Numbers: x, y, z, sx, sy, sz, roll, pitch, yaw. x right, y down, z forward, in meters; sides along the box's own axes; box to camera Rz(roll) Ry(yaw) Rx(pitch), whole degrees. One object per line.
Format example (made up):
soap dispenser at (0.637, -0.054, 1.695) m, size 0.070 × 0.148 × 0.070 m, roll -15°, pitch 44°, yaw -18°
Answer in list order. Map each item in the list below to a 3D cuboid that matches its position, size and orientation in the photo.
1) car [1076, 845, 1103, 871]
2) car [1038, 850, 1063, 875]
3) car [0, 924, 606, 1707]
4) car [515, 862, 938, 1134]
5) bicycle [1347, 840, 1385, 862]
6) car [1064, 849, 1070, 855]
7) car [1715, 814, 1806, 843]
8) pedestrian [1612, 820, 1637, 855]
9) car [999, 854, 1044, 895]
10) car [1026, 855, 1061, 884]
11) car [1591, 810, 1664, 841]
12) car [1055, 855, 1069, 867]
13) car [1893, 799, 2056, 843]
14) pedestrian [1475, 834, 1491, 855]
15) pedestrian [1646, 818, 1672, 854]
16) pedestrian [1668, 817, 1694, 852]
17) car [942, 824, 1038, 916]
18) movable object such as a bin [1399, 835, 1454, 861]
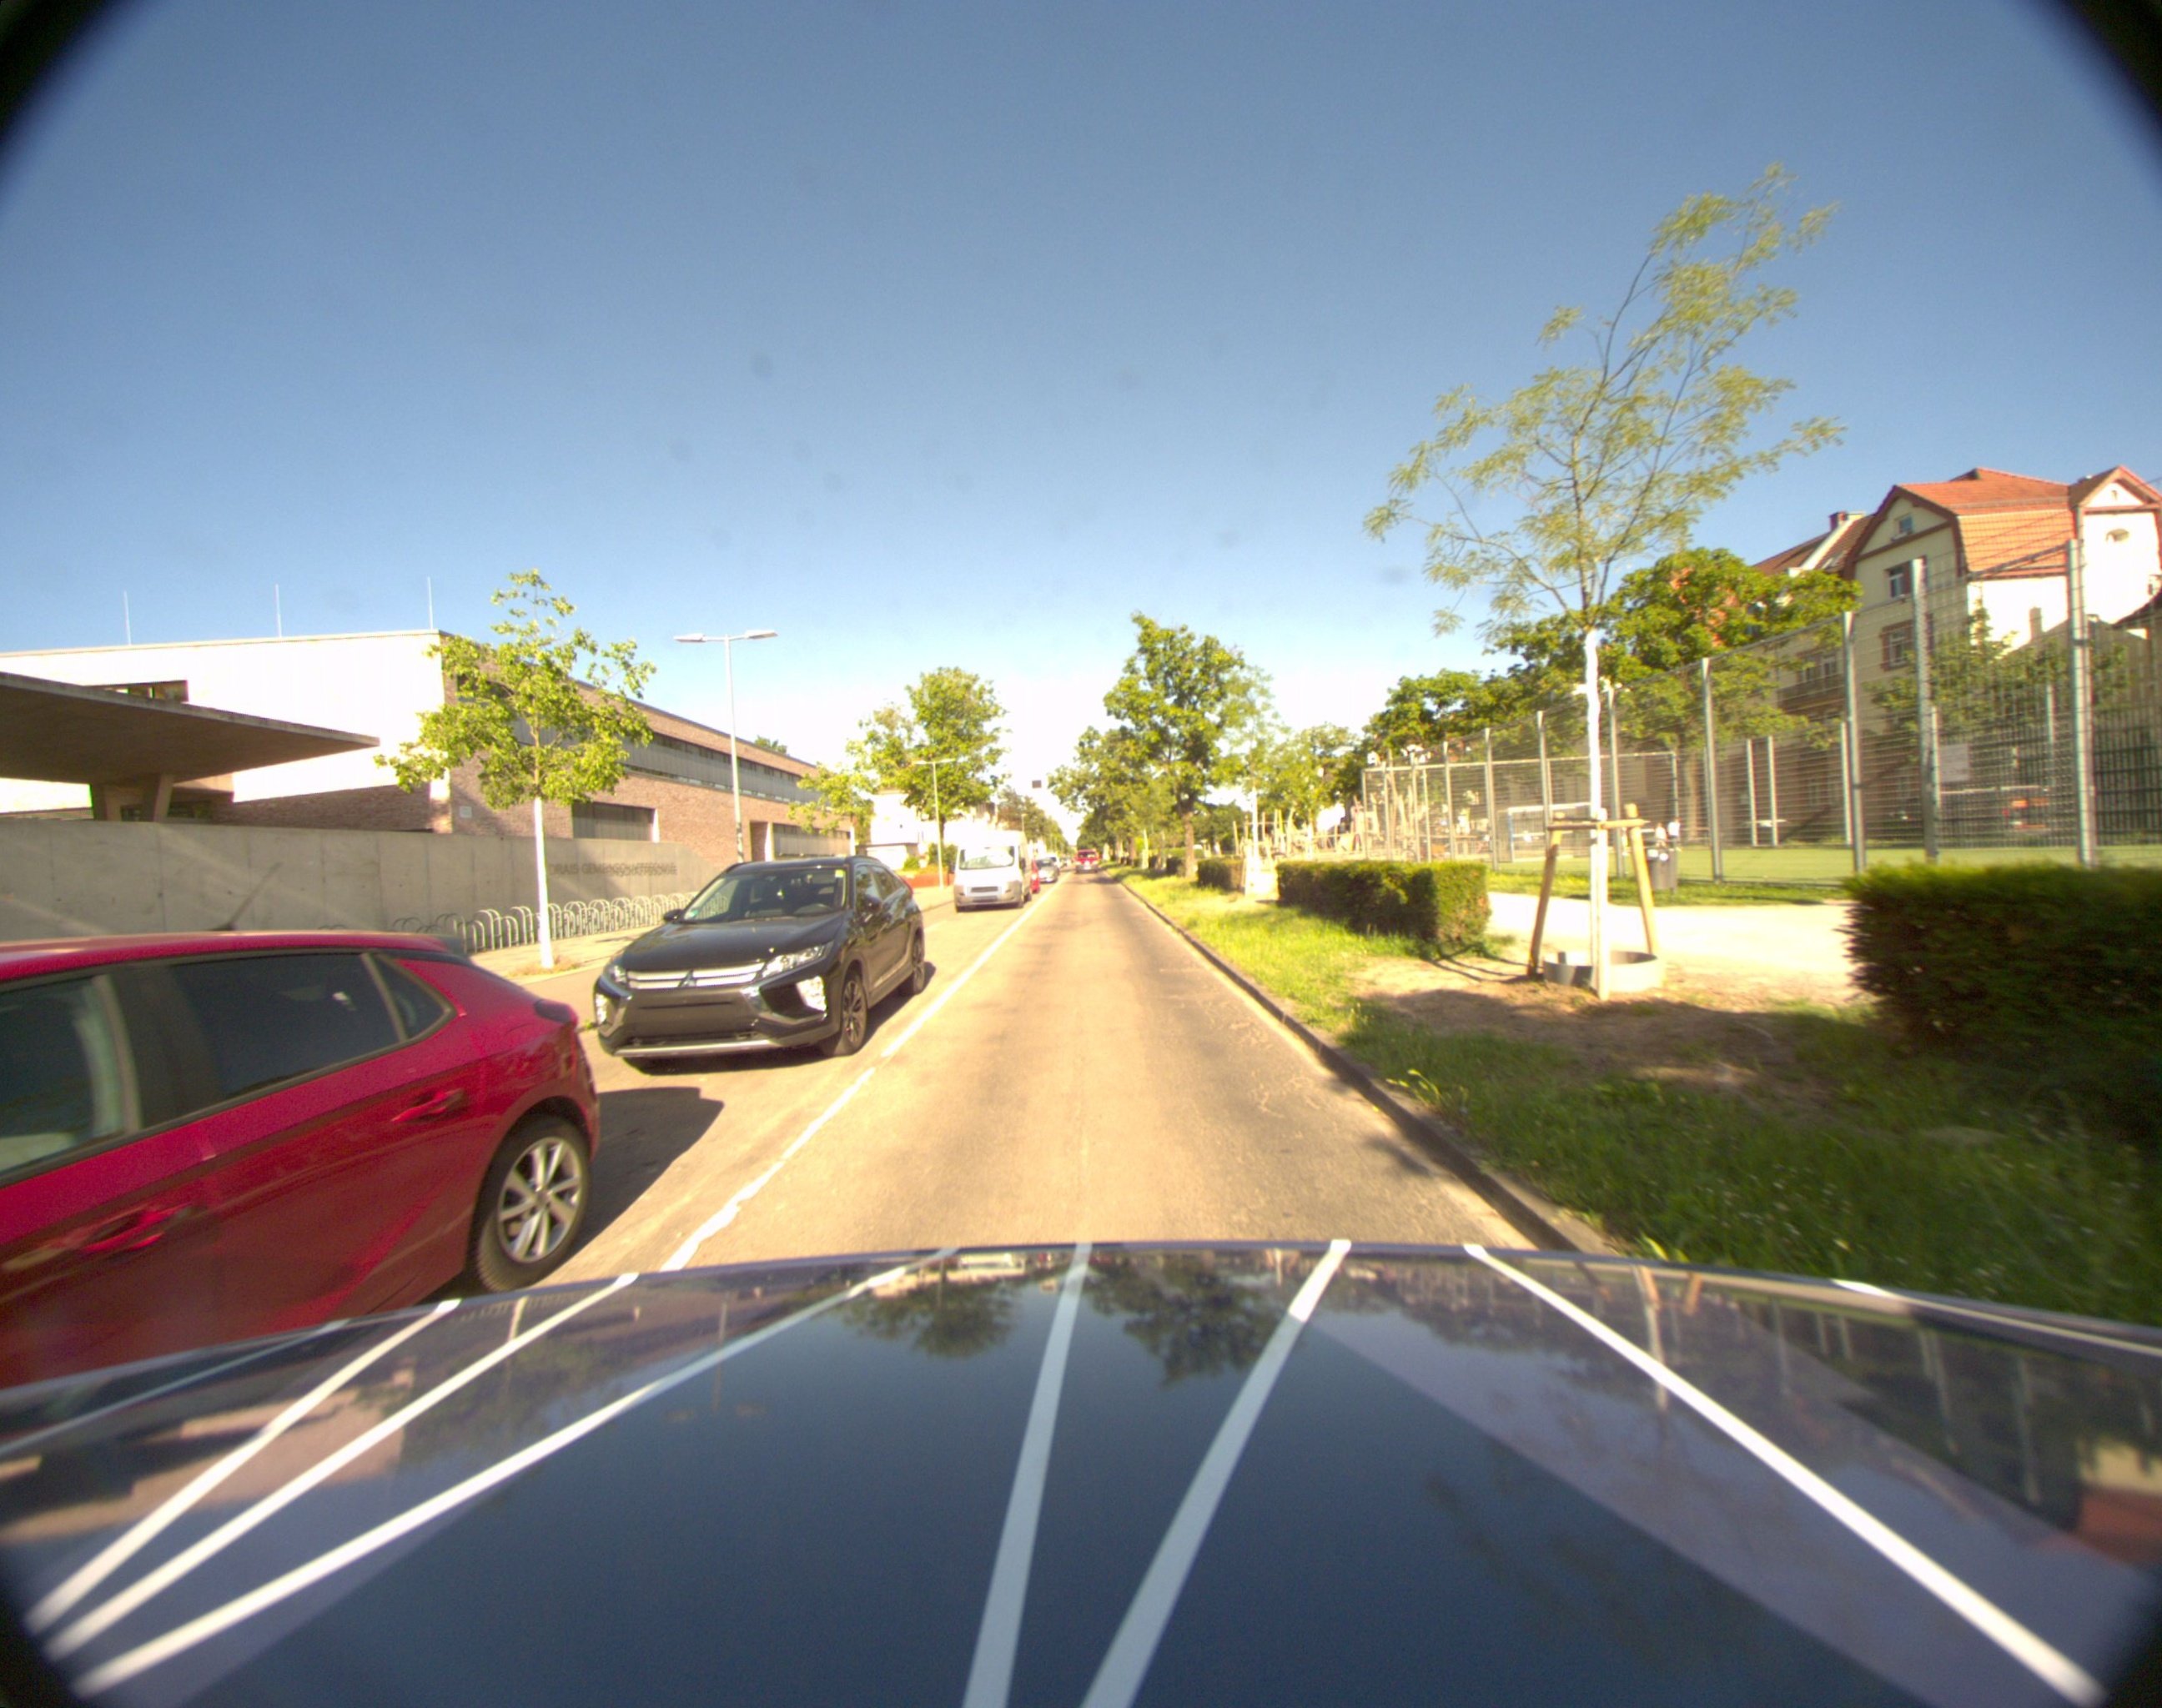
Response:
car at (0.711, 0.344, 64.273) m, size 2.092 × 2.000 × 4.844 m, roll -2°, pitch 0°, yaw 0°
car at (-2.431, 0.659, 61.989) m, size 1.812 × 1.897 × 4.460 m, roll -4°, pitch 0°, yaw -1°
car at (-3.006, 1.086, 1.317) m, size 1.799 × 1.447 × 3.949 m, roll -3°, pitch 1°, yaw 0°
car at (-2.767, 0.978, 7.283) m, size 1.851 × 1.631 × 4.503 m, roll -3°, pitch 1°, yaw 0°
bicycle at (15.251, -0.156, 40.662) m, size 1.799 × 1.101 × 0.500 m, roll -3°, pitch 1°, yaw -1°
car at (-4.216, -0.621, 232.429) m, size 1.799 × 1.529 × 4.000 m, roll -3°, pitch -1°, yaw 0°
car at (39.934, -1.459, 44.788) m, size 1.799 × 1.501 × 4.000 m, roll -4°, pitch 0°, yaw 1°
pedestrian at (21.004, -0.642, 29.373) m, size 0.648 × 1.310 × 0.651 m, roll -3°, pitch 1°, yaw 30°
car at (-2.511, 0.852, 32.760) m, size 1.624 × 1.579 × 3.591 m, roll -3°, pitch 0°, yaw -2°
car at (-2.195, 0.870, 44.976) m, size 1.705 × 1.470 × 4.173 m, roll -4°, pitch 0°, yaw 1°
car at (39.773, -2.041, 55.417) m, size 1.799 × 1.971 × 4.835 m, roll -4°, pitch 0°, yaw 1°
car at (-2.573, 0.880, 102.726) m, size 1.664 × 1.456 × 4.409 m, roll -5°, pitch 0°, yaw -3°
car at (35.464, -1.272, 30.333) m, size 1.799 × 1.501 × 4.000 m, roll -4°, pitch 0°, yaw 1°
pedestrian at (27.099, -0.639, 51.239) m, size 0.650 × 1.310 × 0.650 m, roll -4°, pitch 1°, yaw -2°
pedestrian at (22.001, -0.695, 28.920) m, size 0.648 × 1.310 × 0.651 m, roll -3°, pitch 1°, yaw 30°
pedestrian at (23.351, -0.777, 29.563) m, size 0.648 × 1.310 × 0.651 m, roll -3°, pitch 1°, yaw 30°
car at (-2.811, 0.447, 24.888) m, size 2.246 × 2.559 × 5.432 m, roll -4°, pitch 1°, yaw 1°
movable object such as a bin at (17.776, -0.314, 39.103) m, size 2.337 × 1.235 × 1.056 m, roll -2°, pitch 0°, yaw -3°
